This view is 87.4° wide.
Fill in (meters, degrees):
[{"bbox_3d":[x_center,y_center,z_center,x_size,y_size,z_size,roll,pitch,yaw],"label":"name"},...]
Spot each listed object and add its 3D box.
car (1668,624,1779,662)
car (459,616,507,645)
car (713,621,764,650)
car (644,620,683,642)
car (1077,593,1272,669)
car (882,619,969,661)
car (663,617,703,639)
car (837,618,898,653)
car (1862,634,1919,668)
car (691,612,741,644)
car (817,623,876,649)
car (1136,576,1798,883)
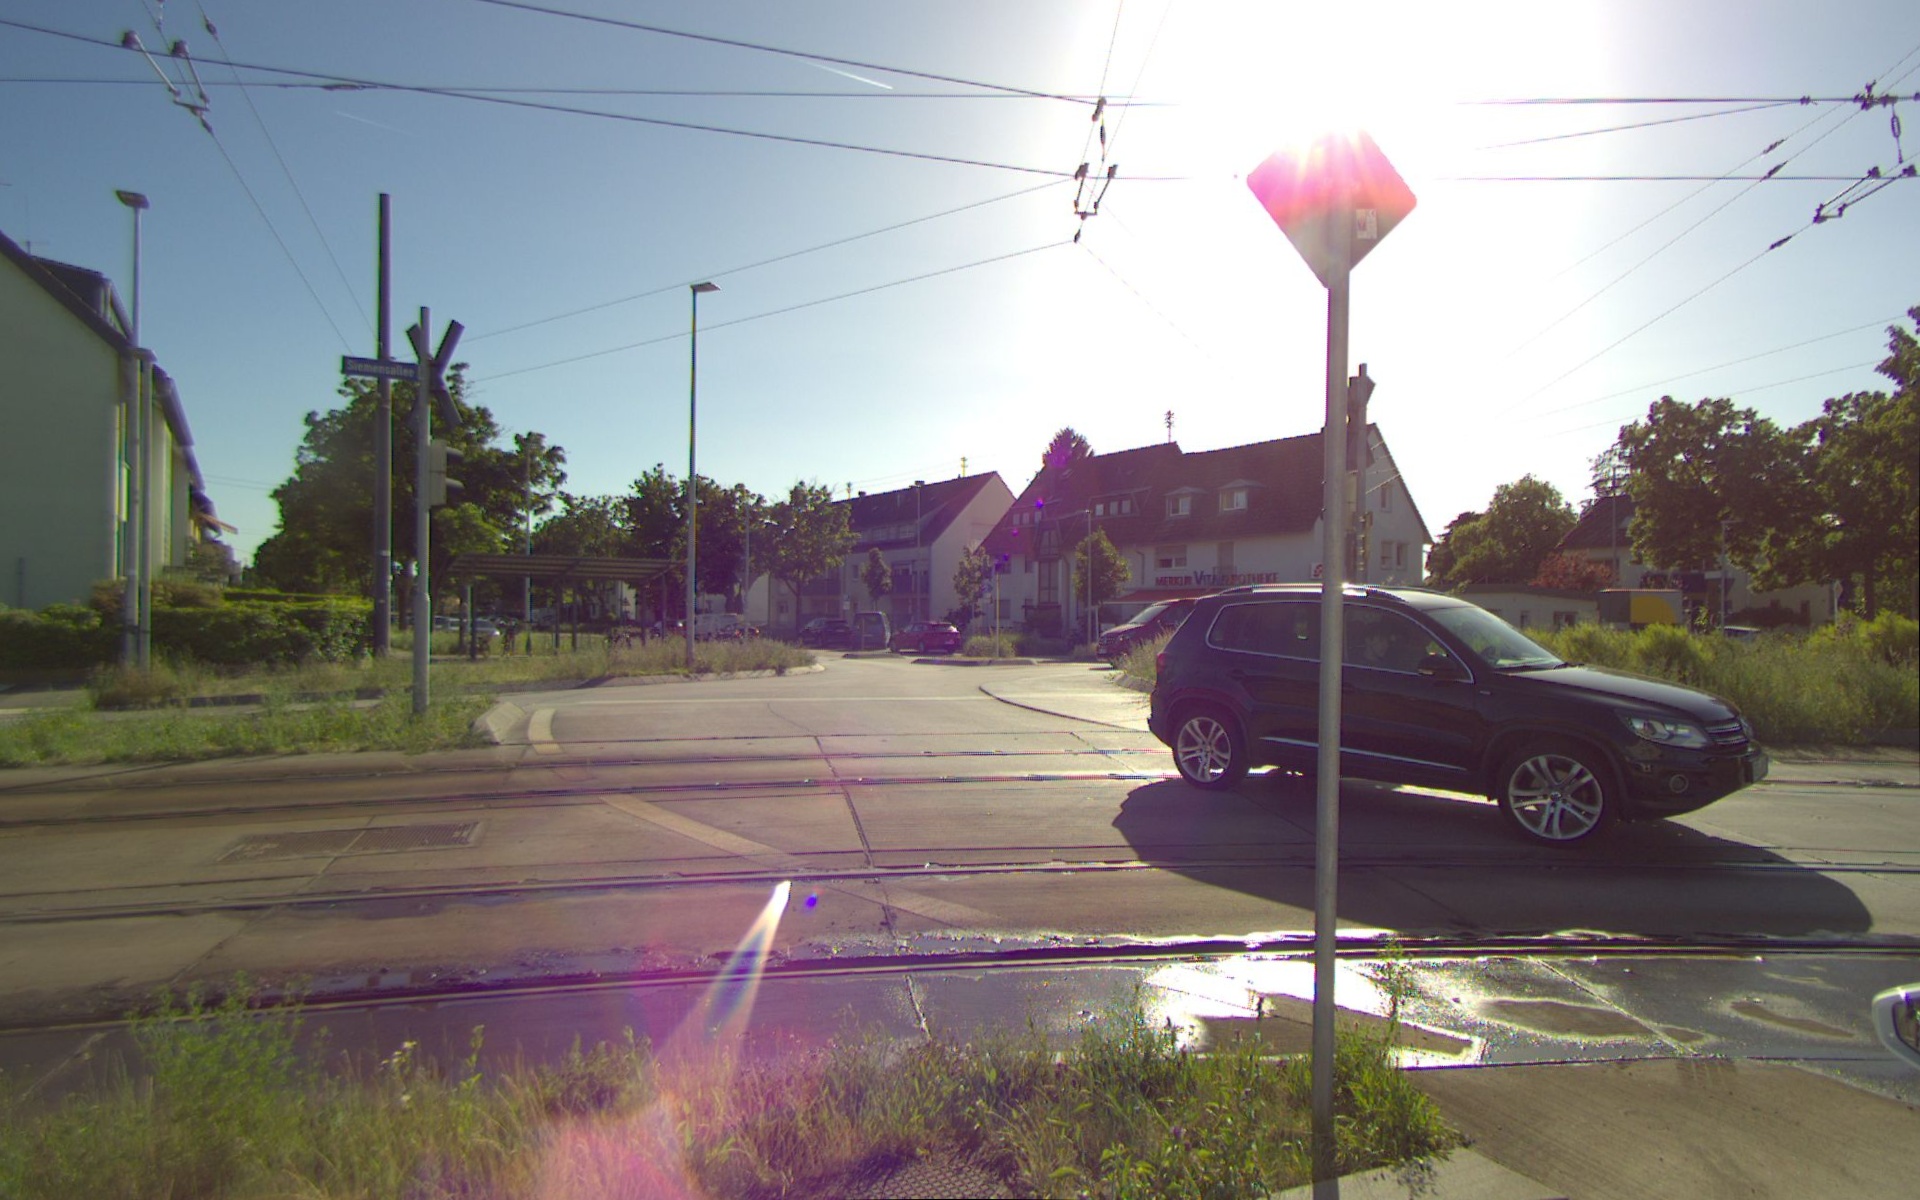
[{"bbox_3d":[38.729,2.176,51.047,1.974,1.717,4.023,1,0,-26],"label":"car"},{"bbox_3d":[-26.434,1.647,55.578,1.809,1.411,3.753,1,0,-35],"label":"car"},{"bbox_3d":[-14.250,2.248,64.522,1.903,1.637,4.247,1,0,-31],"label":"car"},{"bbox_3d":[-23.105,2.390,78.171,1.537,1.699,4.177,1,-1,-36],"label":"car"},{"bbox_3d":[6.159,0.857,28.963,5.149,2.008,1.995,-1,-1,-14],"label":"car"},{"bbox_3d":[-1.656,1.839,46.886,1.981,1.721,4.326,1,0,-36],"label":"car"},{"bbox_3d":[-20.590,2.068,74.605,1.531,1.613,4.035,1,-1,-36],"label":"car"},{"bbox_3d":[-4.695,1.799,51.145,3.019,1.641,1.409,2,0,-5],"label":"car"},{"bbox_3d":[44.534,2.379,47.670,3.765,1.484,1.787,1,0,-36],"label":"car"},{"bbox_3d":[-17.089,1.912,70.162,1.879,2.041,4.326,1,1,-36],"label":"car"},{"bbox_3d":[-6.252,1.955,55.143,3.107,1.315,1.380,2,0,-11],"label":"car"},{"bbox_3d":[3.580,0.722,7.737,1.803,1.693,4.206,0,0,-41],"label":"car"}]
